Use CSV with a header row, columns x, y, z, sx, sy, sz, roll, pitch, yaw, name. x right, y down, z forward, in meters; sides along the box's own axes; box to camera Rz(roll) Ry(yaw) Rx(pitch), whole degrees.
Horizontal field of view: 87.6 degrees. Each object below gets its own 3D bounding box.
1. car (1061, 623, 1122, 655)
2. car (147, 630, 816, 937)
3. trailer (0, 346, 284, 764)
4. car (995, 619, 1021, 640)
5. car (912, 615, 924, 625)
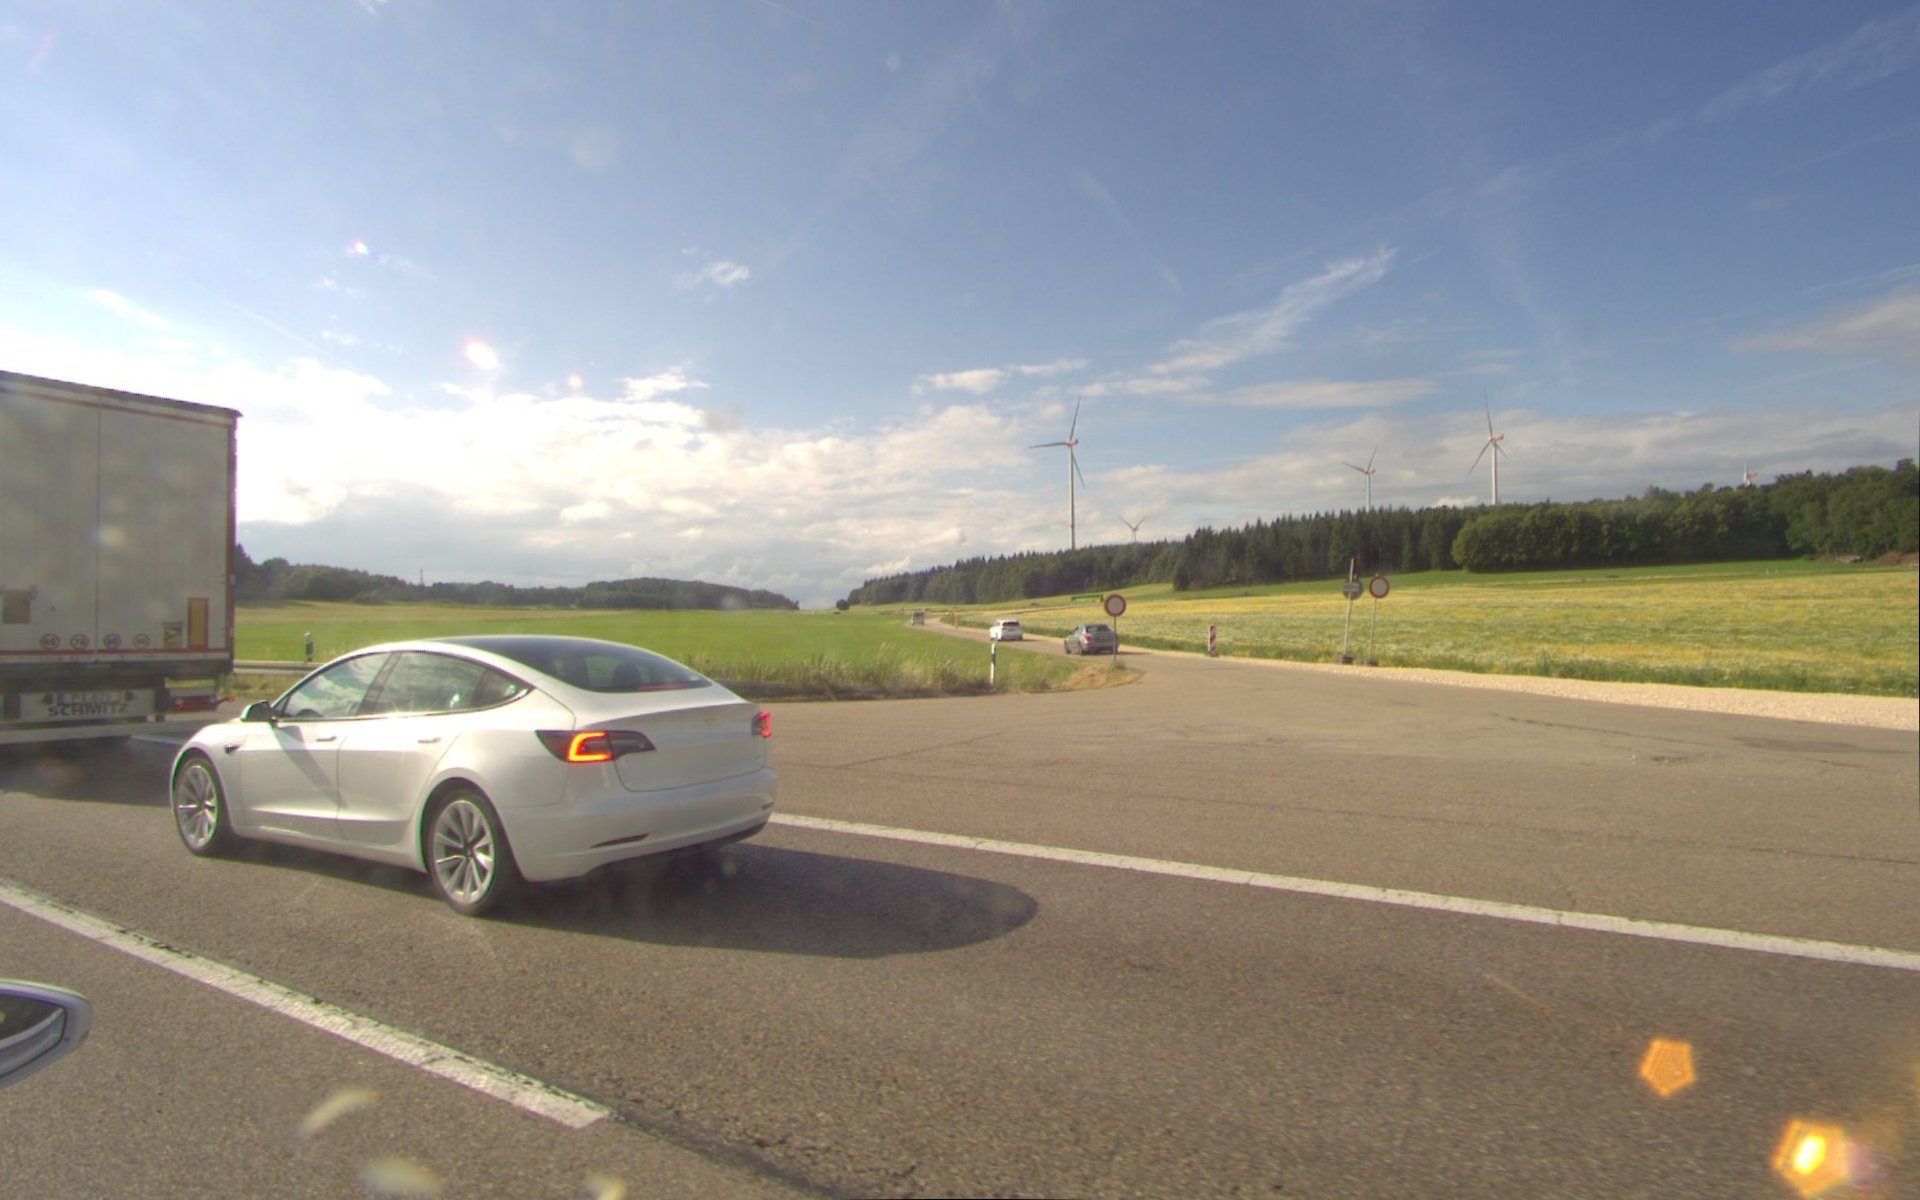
x,y,z,sx,sy,sz,roll,pitch,yaw,name
6.173,1.808,47.530,1.677,1.450,4.230,-1,-1,-10,car
-3.221,0.909,6.525,4.370,1.412,1.787,-1,-1,30,car
-14.382,-0.186,14.078,13.179,4.061,3.125,-2,-2,32,trailer
3.408,2.064,70.656,1.676,1.450,4.233,-1,-1,5,car
-6.587,3.158,156.489,1.676,1.450,4.232,-1,-1,-5,car
